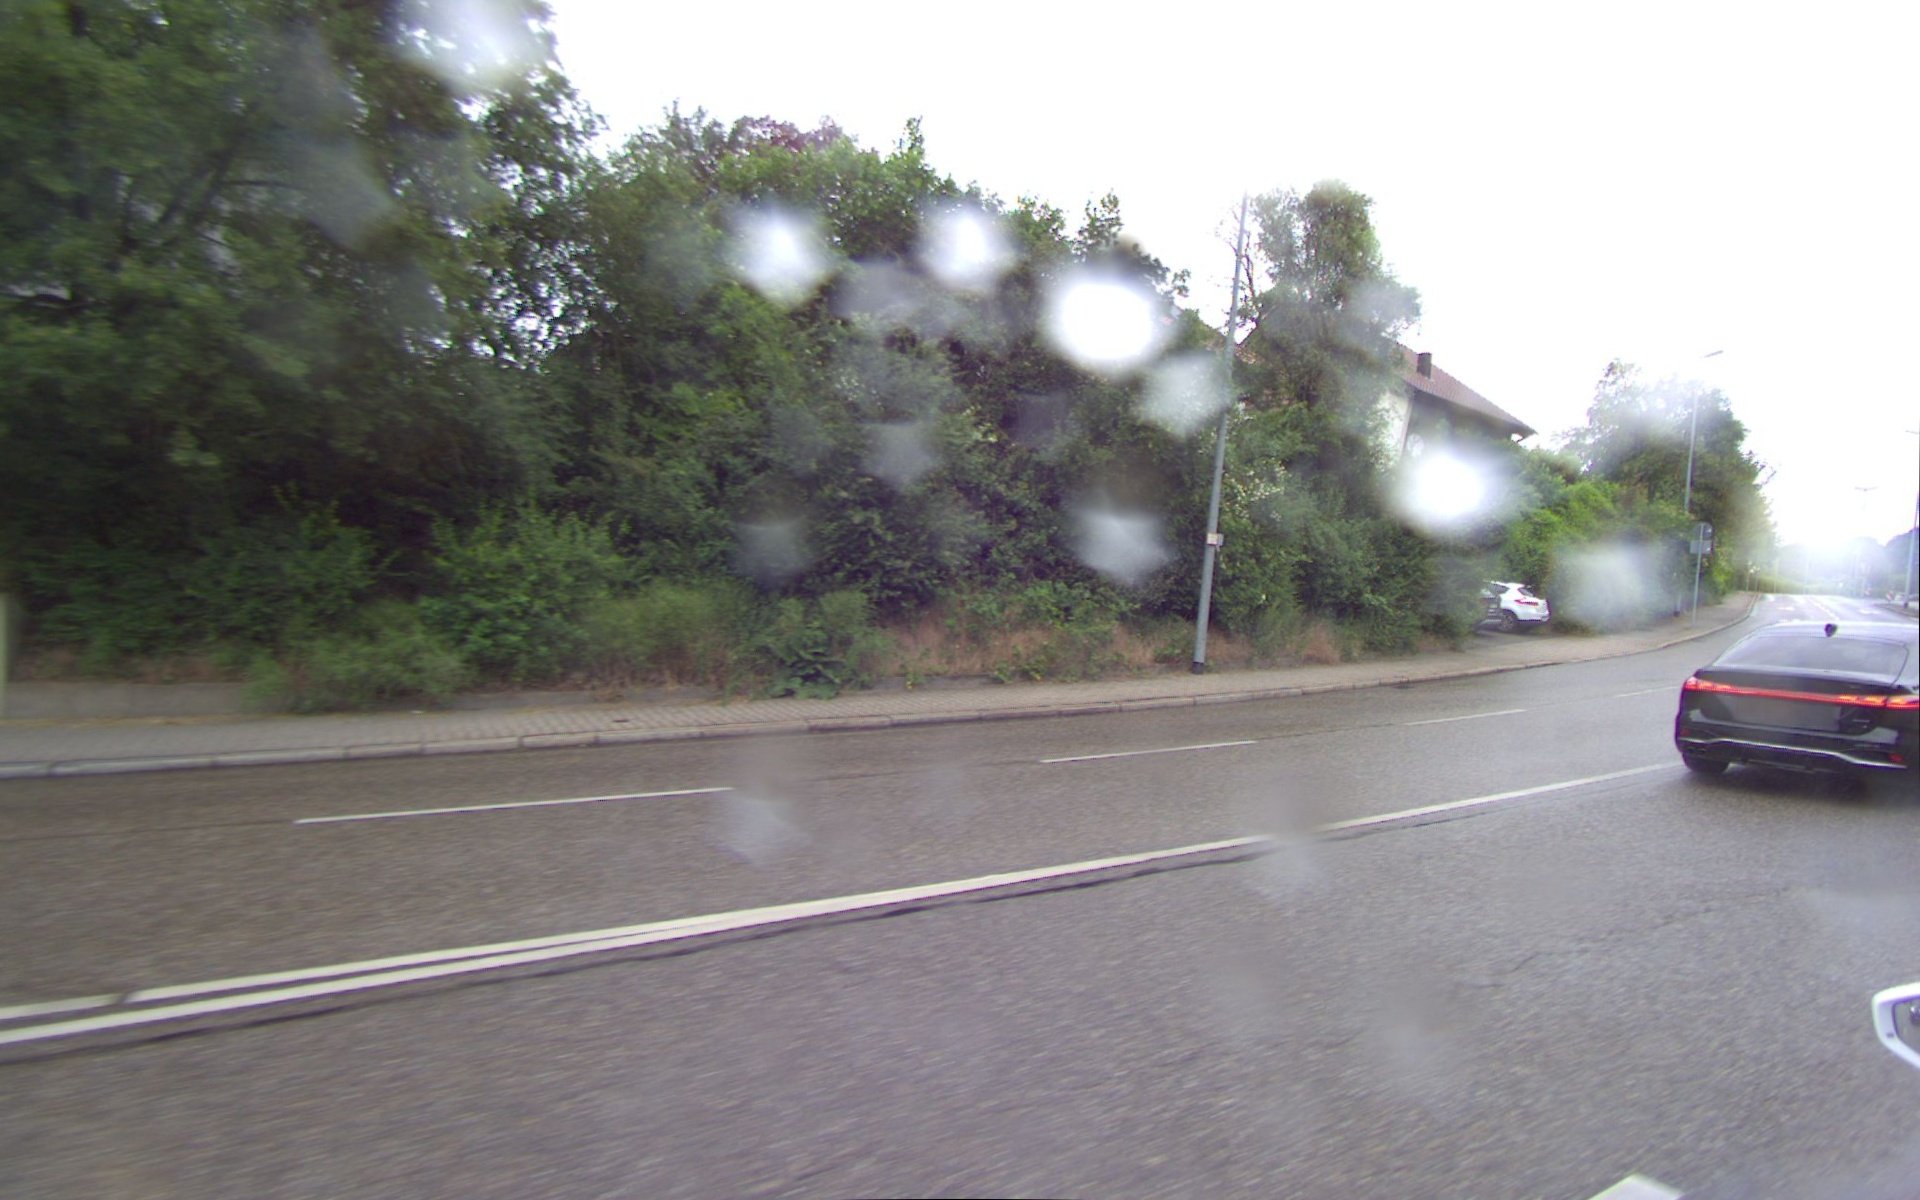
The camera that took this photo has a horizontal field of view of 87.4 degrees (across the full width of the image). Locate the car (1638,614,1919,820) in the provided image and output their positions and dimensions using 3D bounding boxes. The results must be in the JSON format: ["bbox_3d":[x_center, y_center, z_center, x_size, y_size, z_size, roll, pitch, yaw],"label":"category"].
[{"bbox_3d":[8.454,0.878,9.377,4.807,1.417,1.893,0,1,-35],"label":"car"}]

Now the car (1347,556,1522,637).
[{"bbox_3d":[13.449,-0.138,28.660,1.841,1.701,3.951,1,8,-41],"label":"car"}]

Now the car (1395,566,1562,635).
[{"bbox_3d":[15.489,-0.027,30.130,1.844,1.467,3.946,0,9,-45],"label":"car"}]
